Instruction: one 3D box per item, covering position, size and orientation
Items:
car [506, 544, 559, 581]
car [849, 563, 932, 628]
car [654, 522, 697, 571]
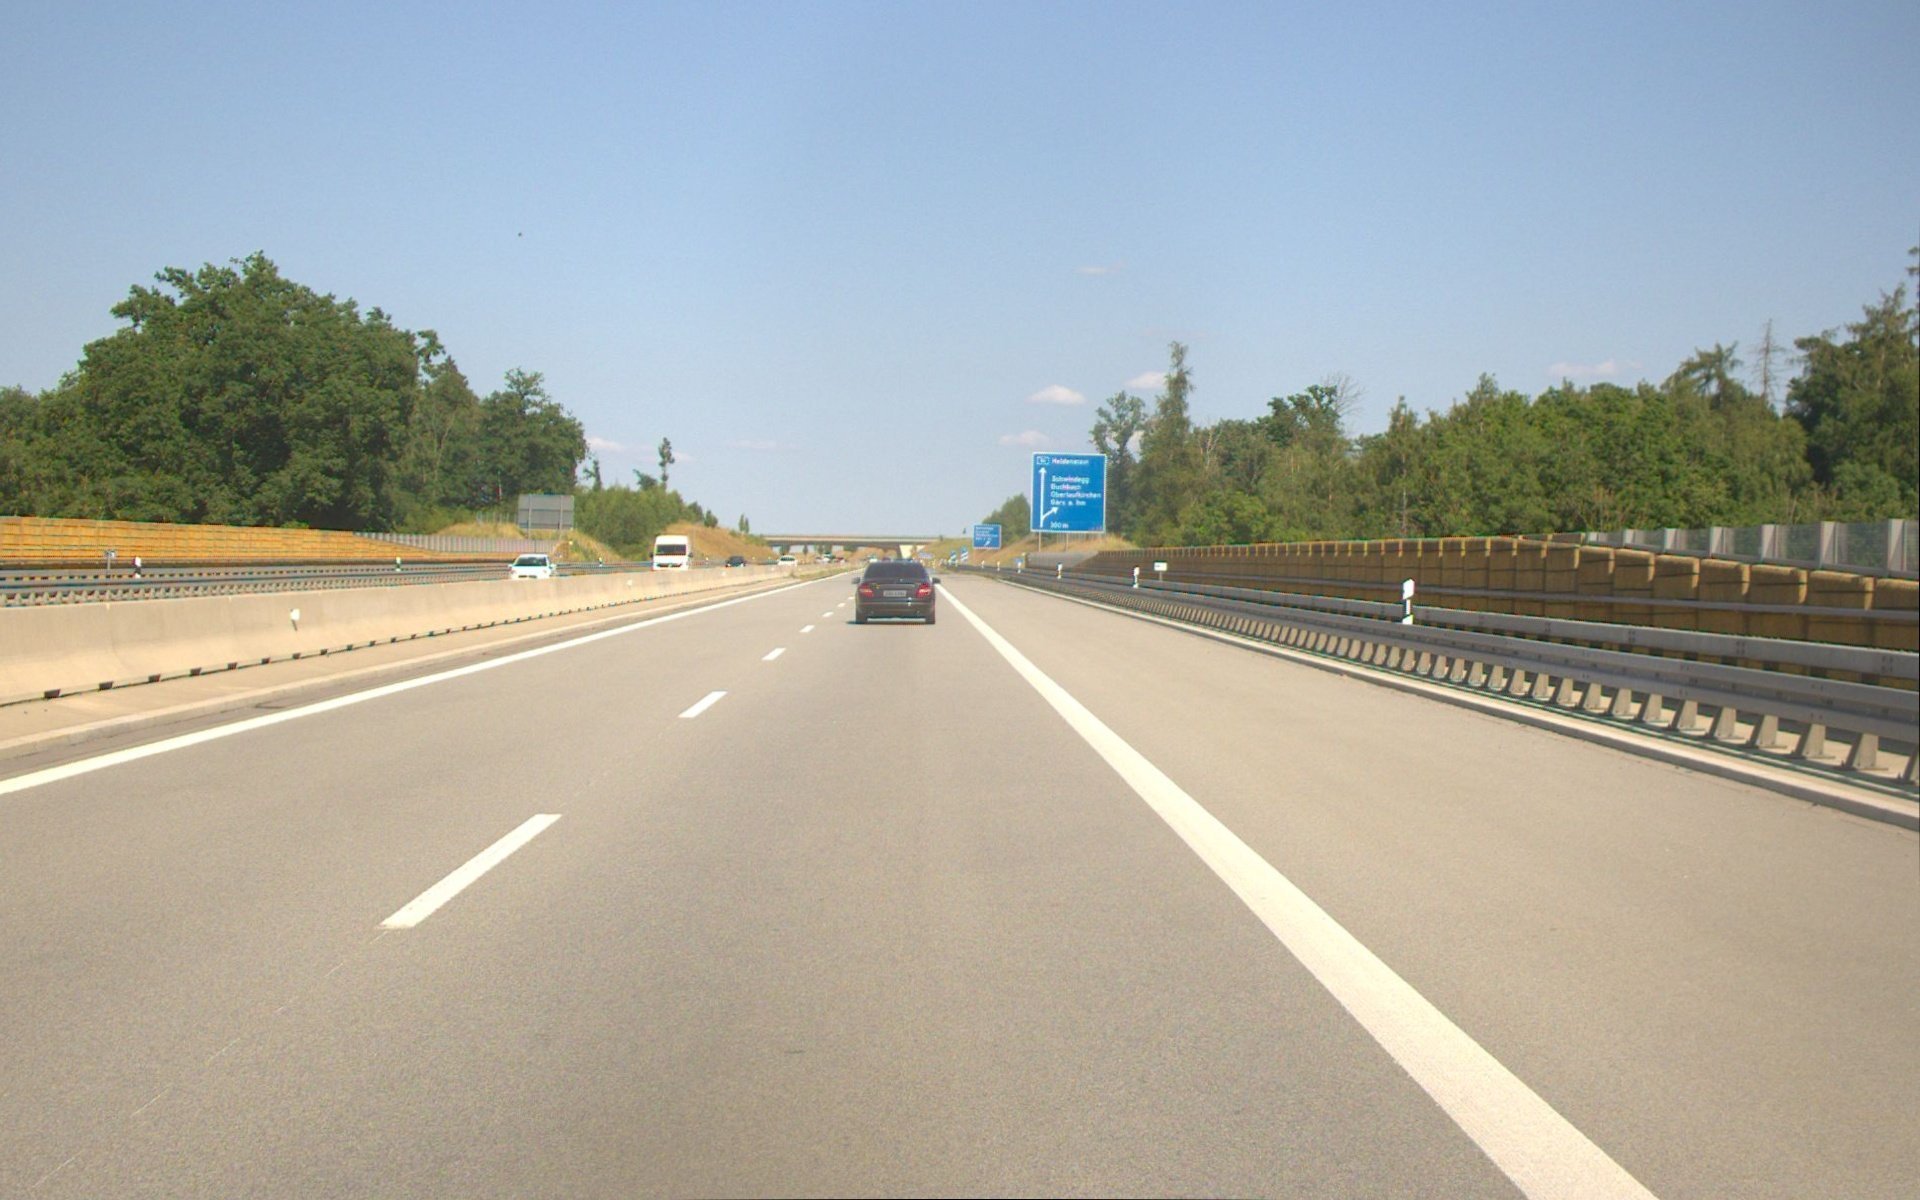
[{"bbox_3d":[-17.543,-1.539,141.197,1.647,1.503,4.332,1,1,0],"label":"car"},{"bbox_3d":[-1.518,-0.122,76.427,1.790,1.369,3.917,1,1,0],"label":"car"},{"bbox_3d":[-15.883,-2.986,192.195,2.023,2.661,6.488,1,1,-2],"label":"car"}]
